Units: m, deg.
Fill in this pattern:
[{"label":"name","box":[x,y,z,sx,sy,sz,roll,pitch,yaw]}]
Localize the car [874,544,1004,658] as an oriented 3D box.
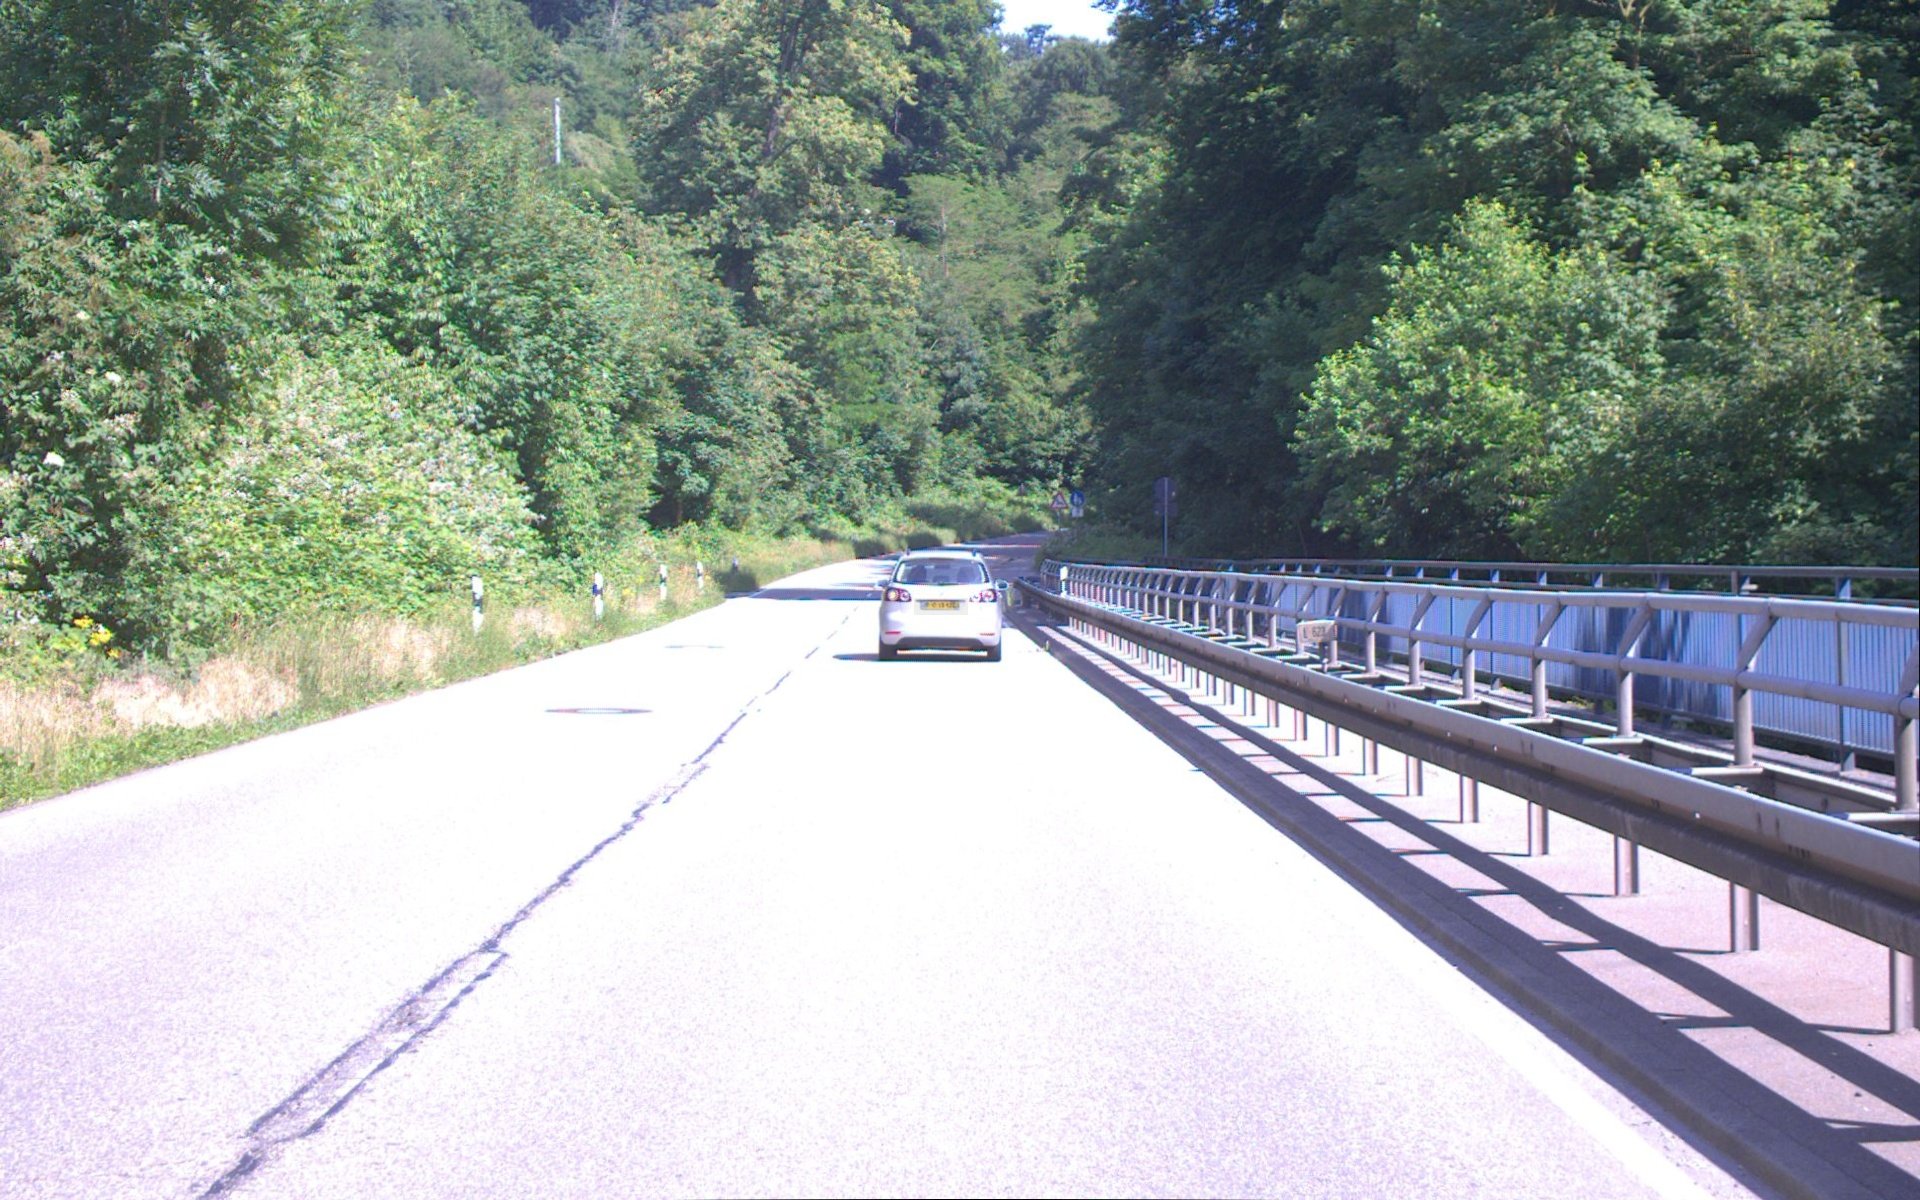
[{"label":"car","box":[-0.318,-0.011,49.480,1.751,1.515,4.159,2,1,-1]}]
